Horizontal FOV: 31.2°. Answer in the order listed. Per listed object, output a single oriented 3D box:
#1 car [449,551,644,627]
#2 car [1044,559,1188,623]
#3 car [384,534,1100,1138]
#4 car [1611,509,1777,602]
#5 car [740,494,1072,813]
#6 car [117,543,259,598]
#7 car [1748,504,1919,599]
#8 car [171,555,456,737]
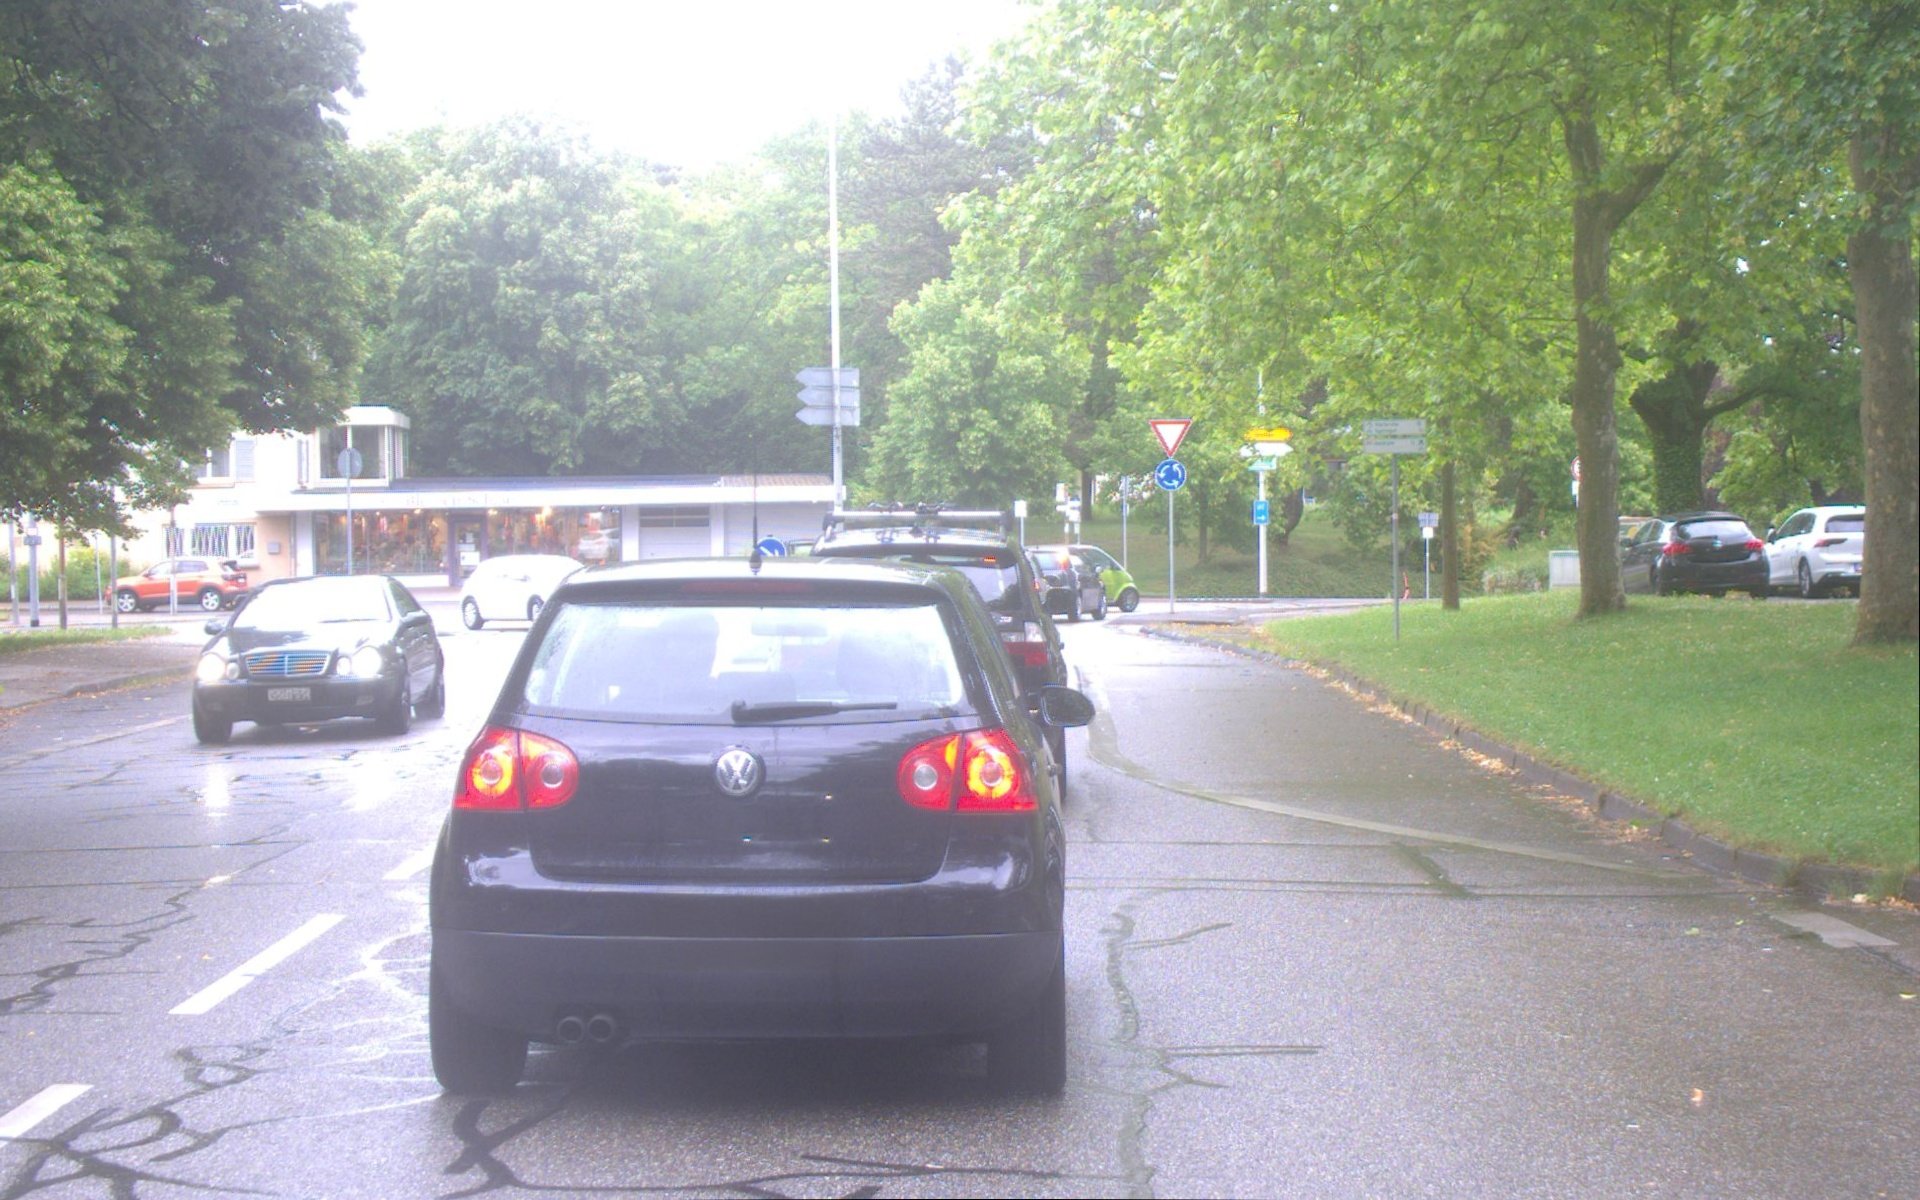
[{"bbox_3d":[-8.293,-0.202,68.649,1.841,1.414,4.509,-2,1,-37],"label":"car"},{"bbox_3d":[3.510,-0.207,76.897,1.539,1.305,3.122,-1,1,43],"label":"car"},{"bbox_3d":[-0.529,0.562,10.532,1.799,1.510,3.754,0,1,1],"label":"car"},{"bbox_3d":[11.881,-0.744,55.883,1.803,1.381,4.000,-3,1,0],"label":"car"},{"bbox_3d":[-0.283,0.293,21.472,1.855,1.778,4.000,-1,0,1],"label":"car"},{"bbox_3d":[-22.437,-0.854,100.023,3.662,1.508,1.711,-1,0,5],"label":"car"},{"bbox_3d":[14.229,-0.807,56.054,1.803,1.401,4.000,-3,1,0],"label":"car"},{"bbox_3d":[-5.577,0.351,30.103,1.797,1.388,3.979,-3,1,-2],"label":"car"}]
